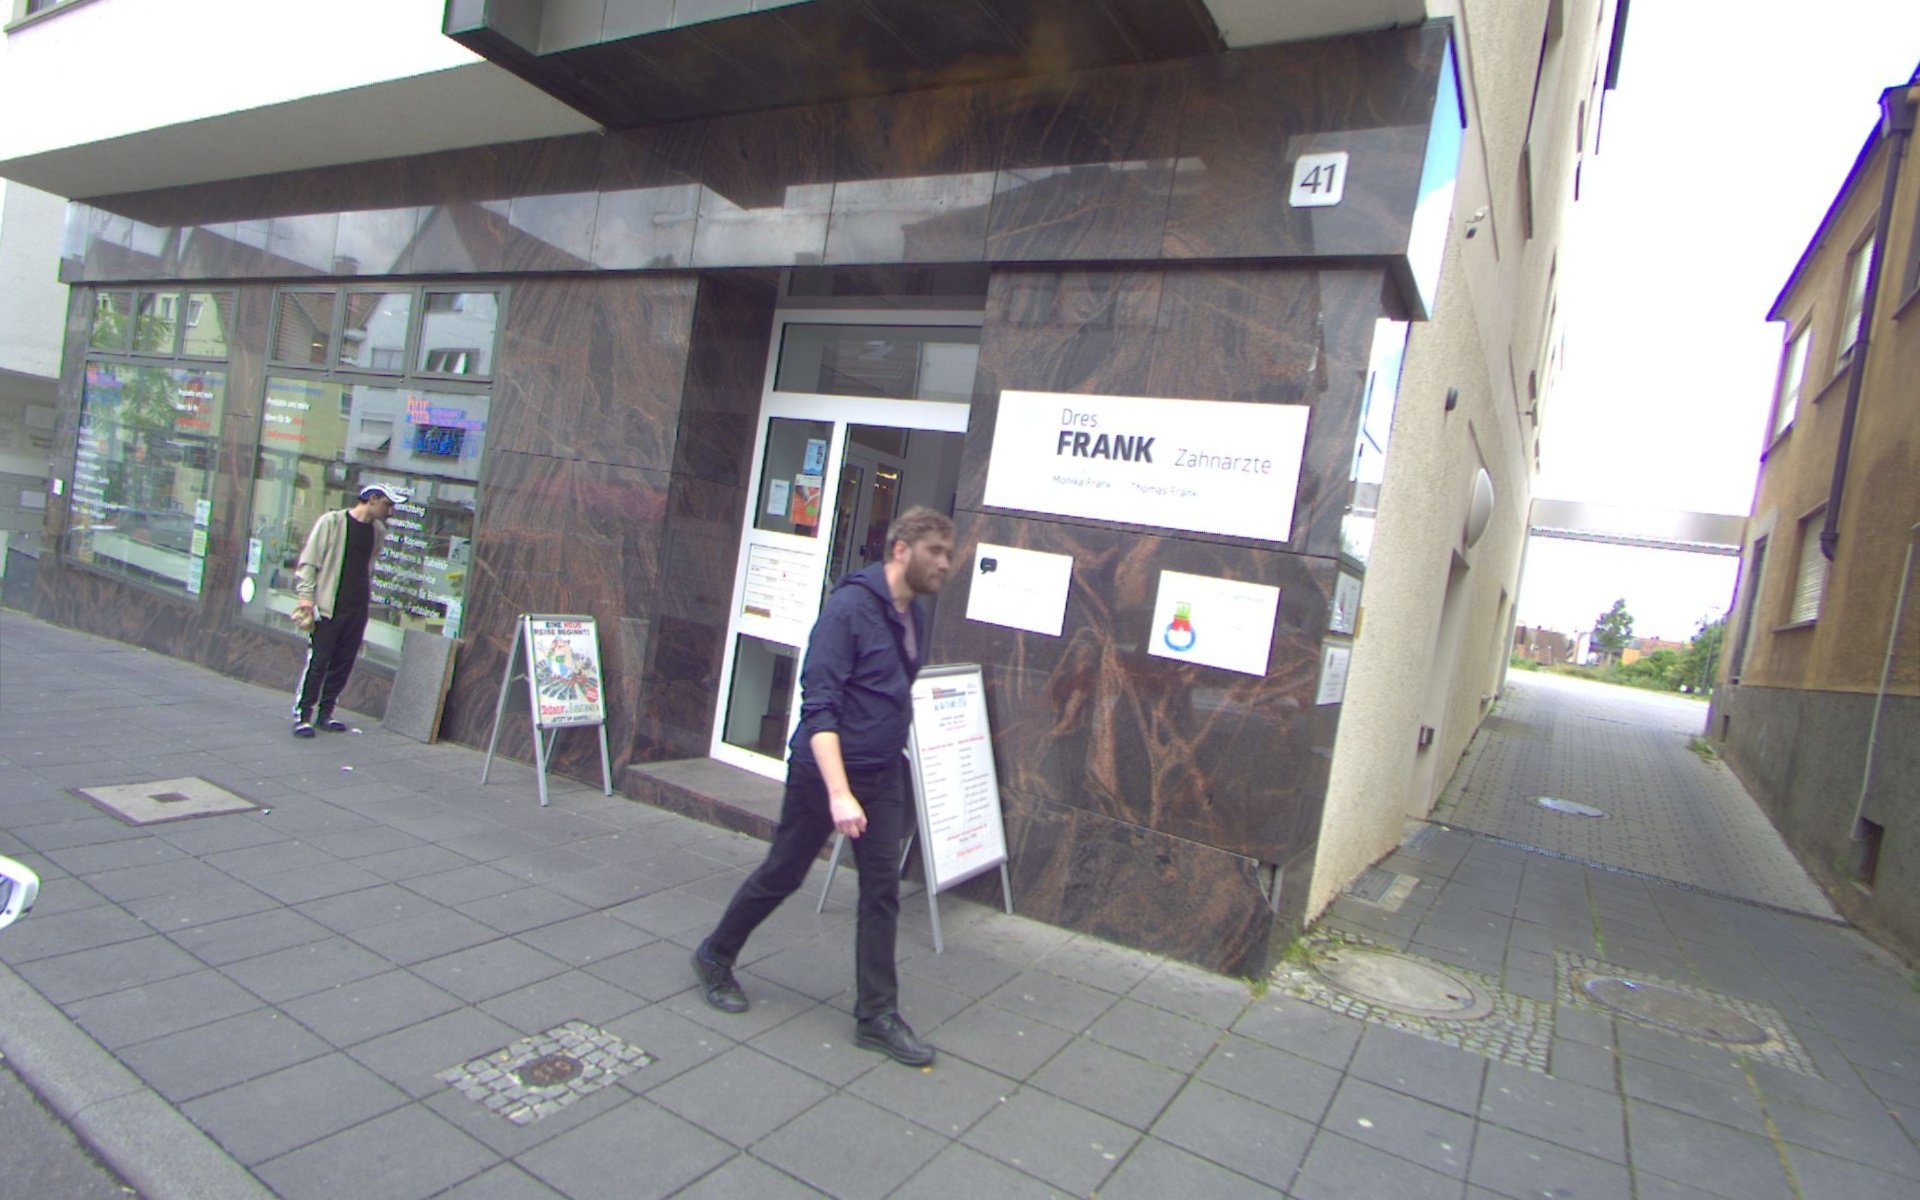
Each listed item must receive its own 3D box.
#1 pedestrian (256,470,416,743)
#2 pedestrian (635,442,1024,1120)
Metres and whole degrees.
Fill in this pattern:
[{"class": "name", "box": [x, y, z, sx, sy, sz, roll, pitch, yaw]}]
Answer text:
[{"class": "pedestrian", "box": [-4.190, 0.033, 6.770, 0.533, 1.713, 0.663, 7, 4, 25]}, {"class": "pedestrian", "box": [-0.394, 0.467, 3.130, 0.774, 1.777, 0.711, 7, 3, 31]}]
